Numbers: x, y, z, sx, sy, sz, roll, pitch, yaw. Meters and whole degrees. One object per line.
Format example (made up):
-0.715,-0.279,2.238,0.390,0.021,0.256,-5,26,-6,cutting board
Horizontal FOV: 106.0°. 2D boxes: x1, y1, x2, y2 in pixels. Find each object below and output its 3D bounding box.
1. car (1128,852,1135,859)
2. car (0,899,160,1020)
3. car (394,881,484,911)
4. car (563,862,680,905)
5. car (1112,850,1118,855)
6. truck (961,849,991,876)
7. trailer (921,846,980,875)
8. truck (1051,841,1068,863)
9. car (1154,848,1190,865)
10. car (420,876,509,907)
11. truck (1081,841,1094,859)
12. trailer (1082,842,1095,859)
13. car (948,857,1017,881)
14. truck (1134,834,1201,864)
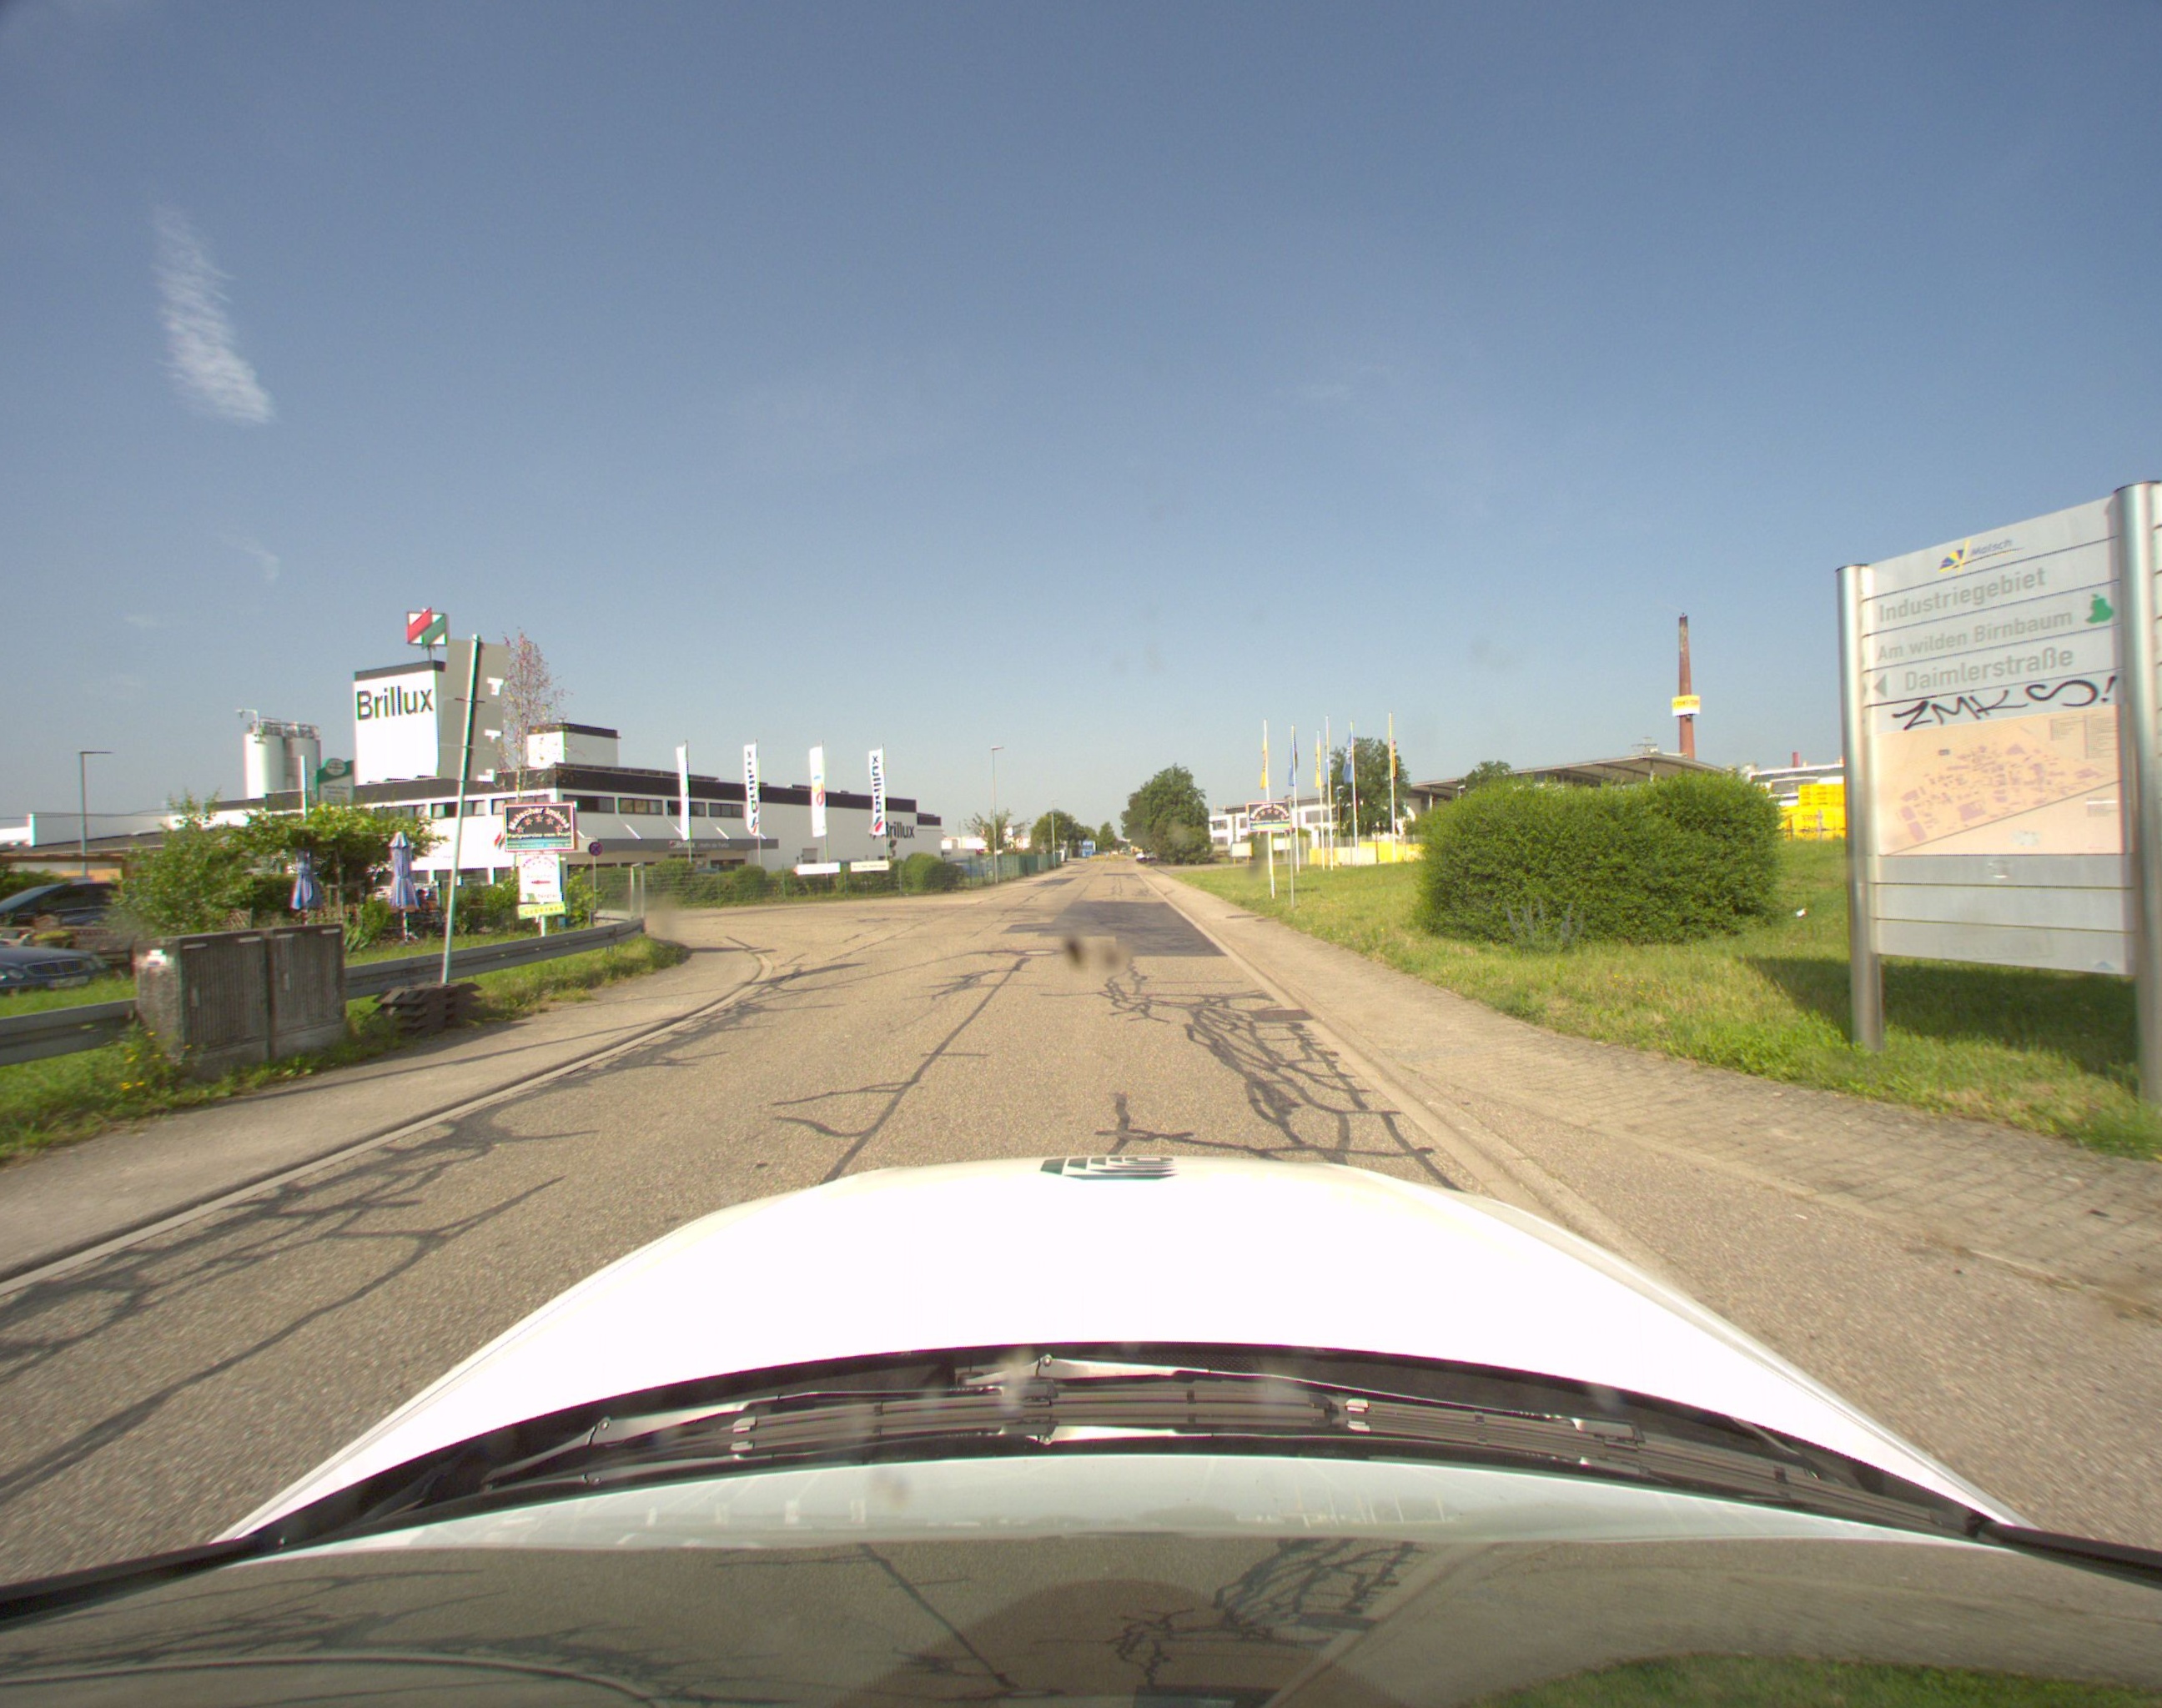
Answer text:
14.033,0.369,227.873,1.785,1.750,4.001,0,-1,1,car
-16.750,1.569,11.472,4.820,1.510,1.957,-3,0,-8,car
-43.777,2.819,55.721,1.986,1.702,5.064,-3,0,2,car
-20.726,1.325,36.750,4.608,1.752,2.164,-2,0,23,car
9.891,-0.421,239.333,1.712,1.661,3.823,0,-1,1,car
-16.227,1.351,126.048,2.493,4.071,5.568,0,-1,17,truck
-18.726,0.988,118.301,2.462,4.042,13.952,0,-1,18,trailer
-3.822,-0.334,143.279,2.699,3.922,4.298,0,-1,2,truck
10.285,0.275,92.435,3.970,1.838,2.002,-2,0,3,car
-41.034,2.454,54.390,1.987,1.702,5.060,-3,0,0,car
1.512,-0.920,187.489,2.814,3.826,9.676,0,-1,2,truck
1.860,-0.769,197.531,2.820,3.843,12.041,0,-1,2,trailer
-7.195,1.098,59.792,4.669,1.444,2.079,-4,0,1,car
10.911,-0.564,103.073,8.179,3.370,2.741,-3,-1,1,truck
